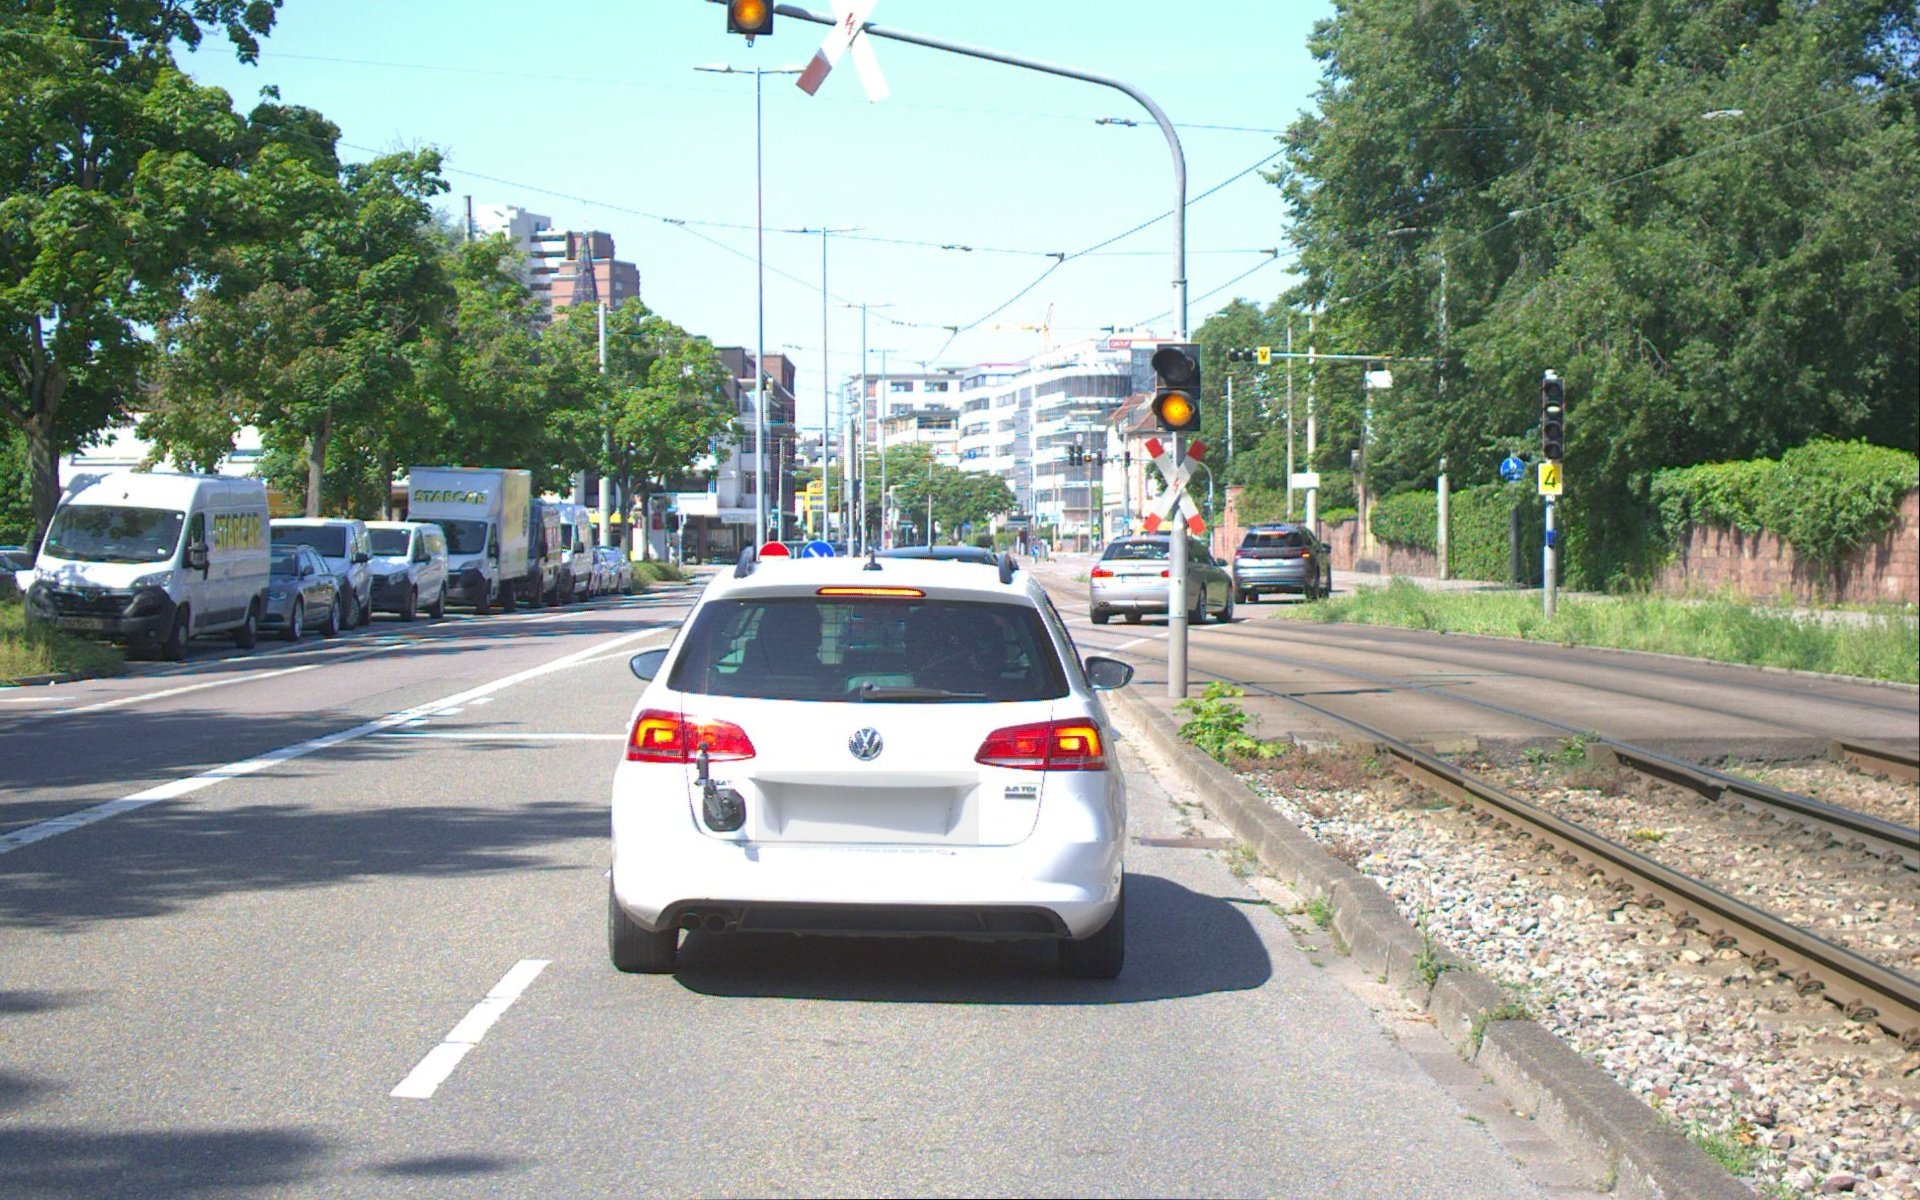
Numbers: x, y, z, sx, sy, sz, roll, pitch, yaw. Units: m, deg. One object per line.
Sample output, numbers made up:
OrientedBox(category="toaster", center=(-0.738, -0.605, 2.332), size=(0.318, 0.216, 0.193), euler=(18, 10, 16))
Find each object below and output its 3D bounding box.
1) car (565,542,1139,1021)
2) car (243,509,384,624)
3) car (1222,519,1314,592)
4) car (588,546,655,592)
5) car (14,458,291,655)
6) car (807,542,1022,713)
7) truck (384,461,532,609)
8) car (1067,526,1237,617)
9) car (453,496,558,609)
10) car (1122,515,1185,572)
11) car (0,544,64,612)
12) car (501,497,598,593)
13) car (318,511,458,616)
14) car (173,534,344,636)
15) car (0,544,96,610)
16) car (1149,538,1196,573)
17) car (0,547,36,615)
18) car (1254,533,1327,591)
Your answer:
OrientedBox(category="car", center=(-0.374, 0.541, 12.797), size=(1.768, 1.441, 3.913), euler=(2, 1, -1))
OrientedBox(category="car", center=(-11.414, -0.625, 60.961), size=(1.843, 1.930, 5.195), euler=(-1, 1, -4))
OrientedBox(category="car", center=(6.683, -0.982, 74.928), size=(1.861, 1.508, 3.913), euler=(2, 1, 4))
OrientedBox(category="car", center=(-11.000, -1.013, 112.055), size=(1.780, 1.428, 4.038), euler=(-1, 1, 0))
OrientedBox(category="car", center=(-11.165, -0.638, 48.071), size=(2.059, 2.492, 6.307), euler=(2, 1, 2))
OrientedBox(category="car", center=(-0.348, 0.197, 30.969), size=(1.746, 1.383, 3.913), euler=(2, 1, 2))
OrientedBox(category="truck", center=(-11.036, -1.445, 76.093), size=(2.356, 3.112, 6.892), euler=(-1, 1, -1))
OrientedBox(category="car", center=(3.243, -0.487, 57.355), size=(1.862, 1.412, 4.321), euler=(2, 1, 16))
OrientedBox(category="car", center=(-11.010, -1.174, 83.568), size=(1.843, 2.659, 5.003), euler=(-1, 1, 0))
OrientedBox(category="car", center=(8.924, -2.581, 158.736), size=(2.463, 2.490, 5.910), euler=(2, 0, 0))
OrientedBox(category="car", center=(-21.694, -0.461, 74.611), size=(3.987, 1.439, 1.771), euler=(-1, 1, 3))
OrientedBox(category="car", center=(-10.967, -1.483, 92.284), size=(1.843, 2.486, 5.857), euler=(-1, 1, 0))
OrientedBox(category="car", center=(-11.175, -0.743, 67.503), size=(1.843, 1.954, 5.134), euler=(-1, 1, 0))
OrientedBox(category="car", center=(-11.025, -0.267, 54.304), size=(1.843, 1.511, 4.197), euler=(-1, 1, 0))
OrientedBox(category="car", center=(-21.622, -0.517, 77.156), size=(3.987, 1.439, 1.771), euler=(-1, 1, 3))
OrientedBox(category="car", center=(8.413, -1.757, 136.479), size=(1.581, 1.341, 3.454), euler=(2, 0, 0))
OrientedBox(category="car", center=(-21.644, -0.393, 72.108), size=(3.987, 1.397, 1.771), euler=(-1, 1, 3))
OrientedBox(category="car", center=(8.366, -0.978, 87.243), size=(1.746, 1.403, 3.912), euler=(2, 1, 4))
